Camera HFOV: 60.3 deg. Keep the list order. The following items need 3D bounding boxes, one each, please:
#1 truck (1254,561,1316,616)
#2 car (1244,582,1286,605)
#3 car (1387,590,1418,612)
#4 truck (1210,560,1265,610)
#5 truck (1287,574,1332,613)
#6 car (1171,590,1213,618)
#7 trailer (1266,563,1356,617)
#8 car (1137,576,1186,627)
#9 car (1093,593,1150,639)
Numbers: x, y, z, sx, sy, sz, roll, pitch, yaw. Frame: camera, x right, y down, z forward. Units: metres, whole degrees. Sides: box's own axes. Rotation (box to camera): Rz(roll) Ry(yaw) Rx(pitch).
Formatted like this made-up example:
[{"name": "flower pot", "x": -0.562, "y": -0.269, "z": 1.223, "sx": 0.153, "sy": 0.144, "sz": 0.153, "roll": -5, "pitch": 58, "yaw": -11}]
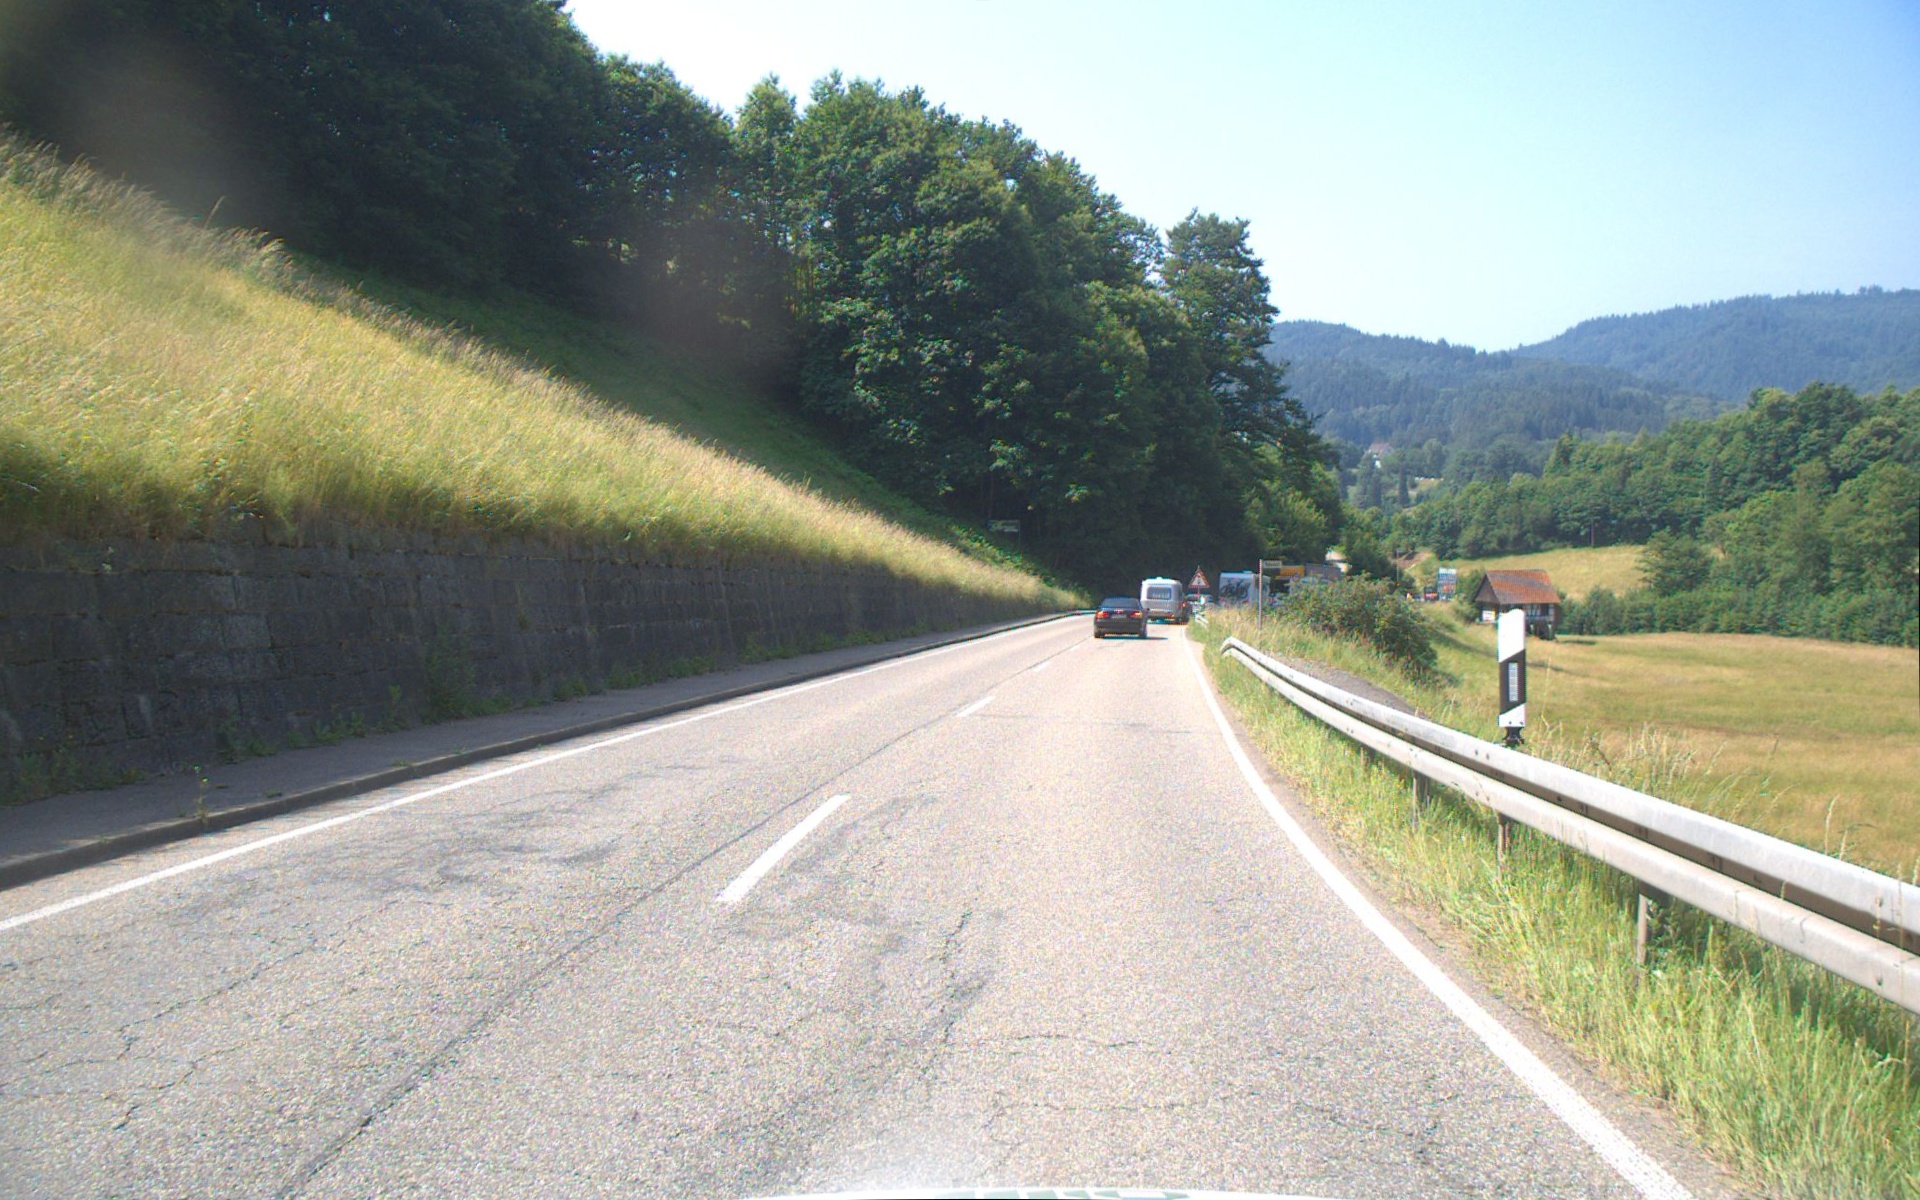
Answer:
[{"name": "truck", "x": 27.889, "y": -0.956, "z": 141.879, "sx": 3.130, "sy": 4.472, "sz": 6.558, "roll": 3, "pitch": 2, "yaw": 30}, {"name": "car", "x": 21.908, "y": -0.451, "z": 118.612, "sx": 1.955, "sy": 1.489, "sz": 3.997, "roll": 5, "pitch": 2, "yaw": 25}, {"name": "car", "x": 42.913, "y": 0.113, "z": 160.401, "sx": 1.956, "sy": 1.959, "sz": 3.994, "roll": 4, "pitch": 1, "yaw": 28}, {"name": "truck", "x": 18.643, "y": -1.043, "z": 110.807, "sx": 2.732, "sy": 3.049, "sz": 6.873, "roll": 4, "pitch": 2, "yaw": 16}, {"name": "truck", "x": 27.841, "y": -0.508, "z": 131.451, "sx": 2.193, "sy": 2.853, "sz": 6.229, "roll": 3, "pitch": 0, "yaw": 24}, {"name": "car", "x": 13.883, "y": 0.211, "z": 98.943, "sx": 1.952, "sy": 1.509, "sz": 4.003, "roll": 4, "pitch": 1, "yaw": 15}, {"name": "trailer", "x": 31.638, "y": -0.876, "z": 148.356, "sx": 3.200, "sy": 4.494, "sz": 15.284, "roll": 3, "pitch": 1, "yaw": 30}, {"name": "car", "x": 10.410, "y": 0.042, "z": 85.155, "sx": 1.951, "sy": 2.393, "sz": 4.918, "roll": 2, "pitch": 2, "yaw": 13}, {"name": "car", "x": 5.508, "y": 0.503, "z": 55.958, "sx": 1.733, "sy": 1.358, "sz": 3.770, "roll": 2, "pitch": 2, "yaw": 8}]
